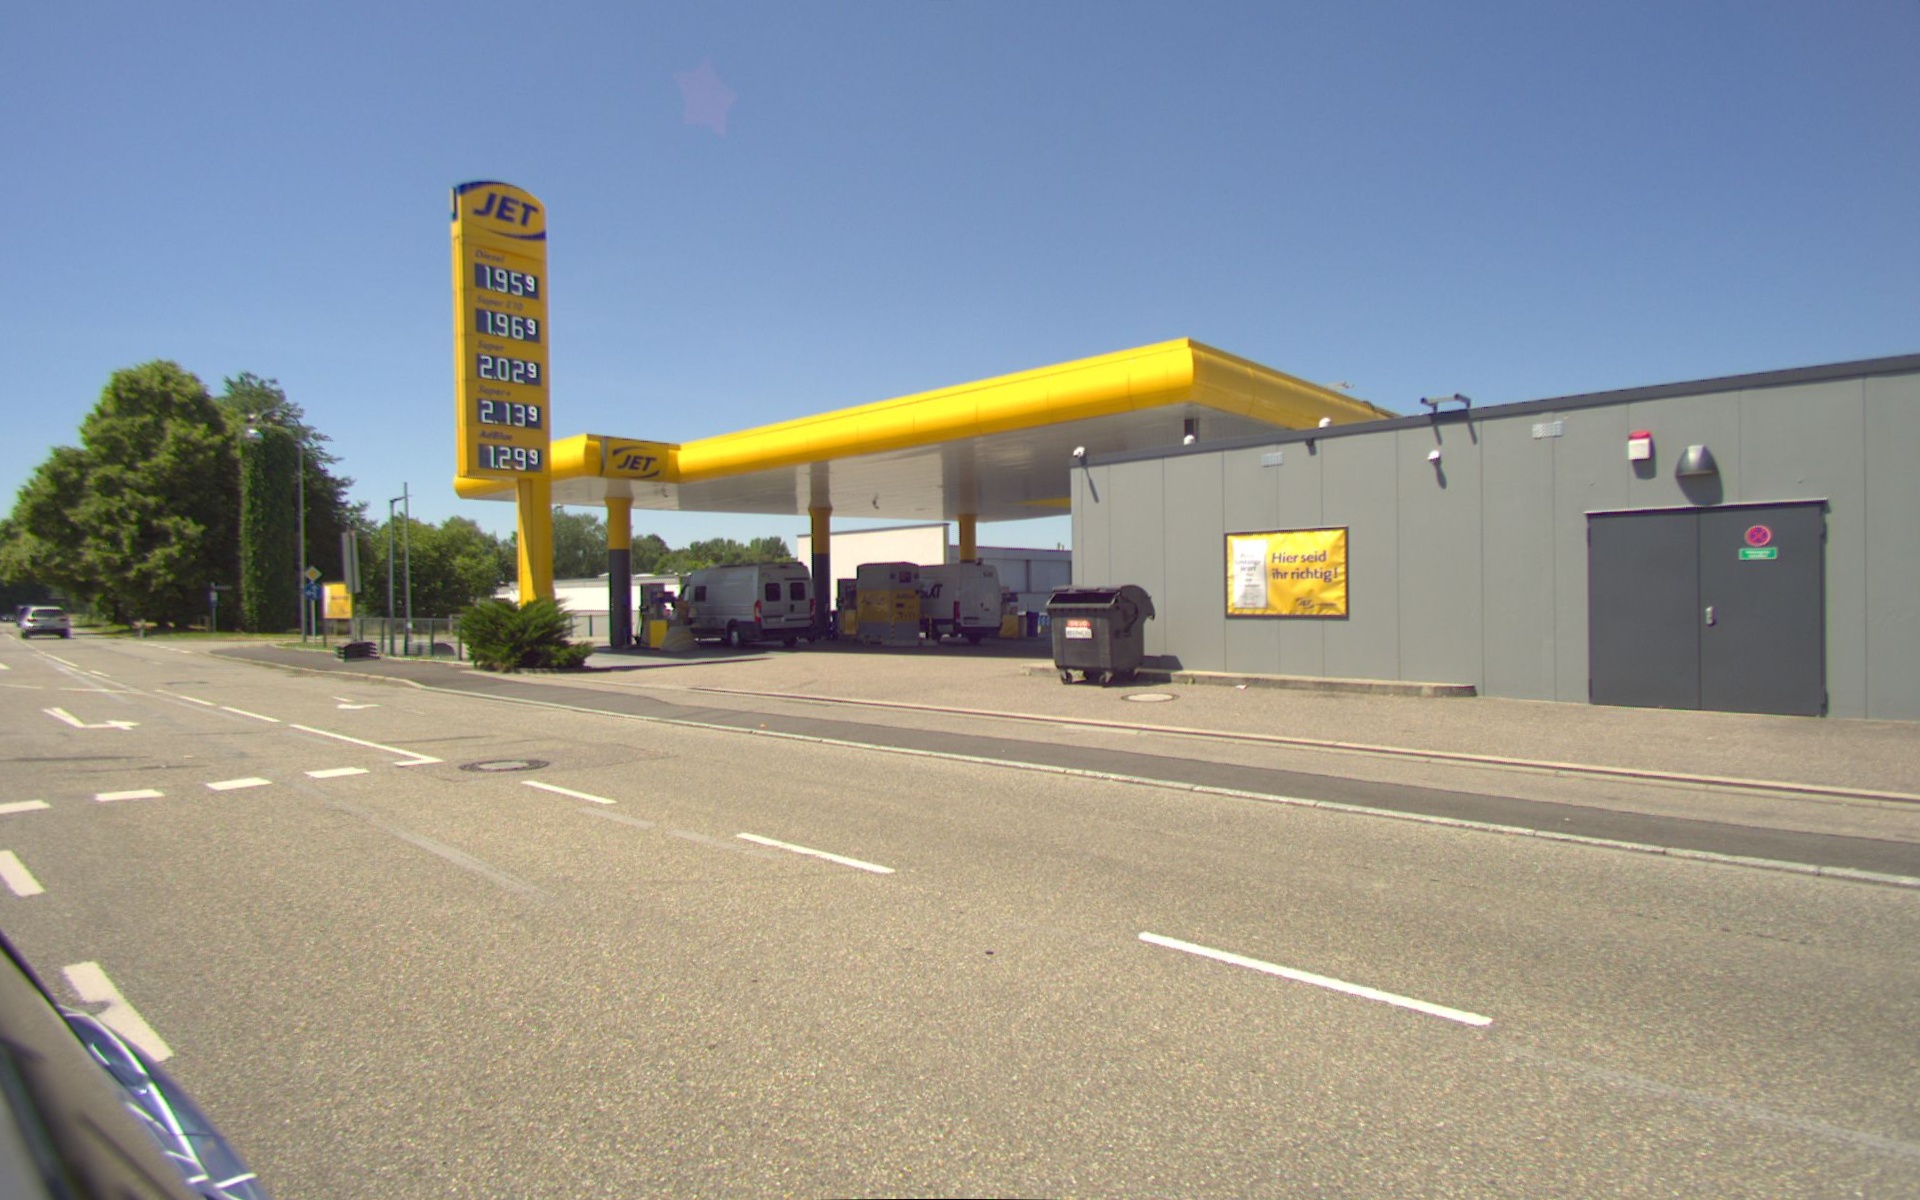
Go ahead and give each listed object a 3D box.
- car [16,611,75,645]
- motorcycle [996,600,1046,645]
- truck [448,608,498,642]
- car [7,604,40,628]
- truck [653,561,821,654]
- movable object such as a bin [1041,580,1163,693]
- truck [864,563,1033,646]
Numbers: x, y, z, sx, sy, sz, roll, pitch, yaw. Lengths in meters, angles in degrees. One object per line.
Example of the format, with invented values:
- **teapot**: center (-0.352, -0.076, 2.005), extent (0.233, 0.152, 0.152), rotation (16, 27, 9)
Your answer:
- **car**: center (-47.839, 1.461, 52.908), extent (4.249, 1.685, 1.947), rotation (-2, -2, 43)
- **motorcycle**: center (2.291, 0.826, 38.136), extent (0.704, 1.653, 2.058), rotation (1, -1, -39)
- **truck**: center (-44.700, 2.262, 92.829), extent (2.402, 2.950, 8.179), rotation (0, -1, -38)
- **car**: center (-82.307, 1.429, 88.920), extent (4.366, 1.786, 1.775), rotation (-6, -9, 45)
- **truck**: center (-7.122, 0.247, 31.656), extent (2.206, 2.618, 6.742), rotation (1, -1, -41)
- **movable object such as a bin**: center (2.086, 0.520, 14.914), extent (1.427, 1.528, 0.942), rotation (-3, 2, 42)
- **truck**: center (-0.578, 0.186, 35.531), extent (2.877, 2.618, 6.619), rotation (1, -1, -32)
